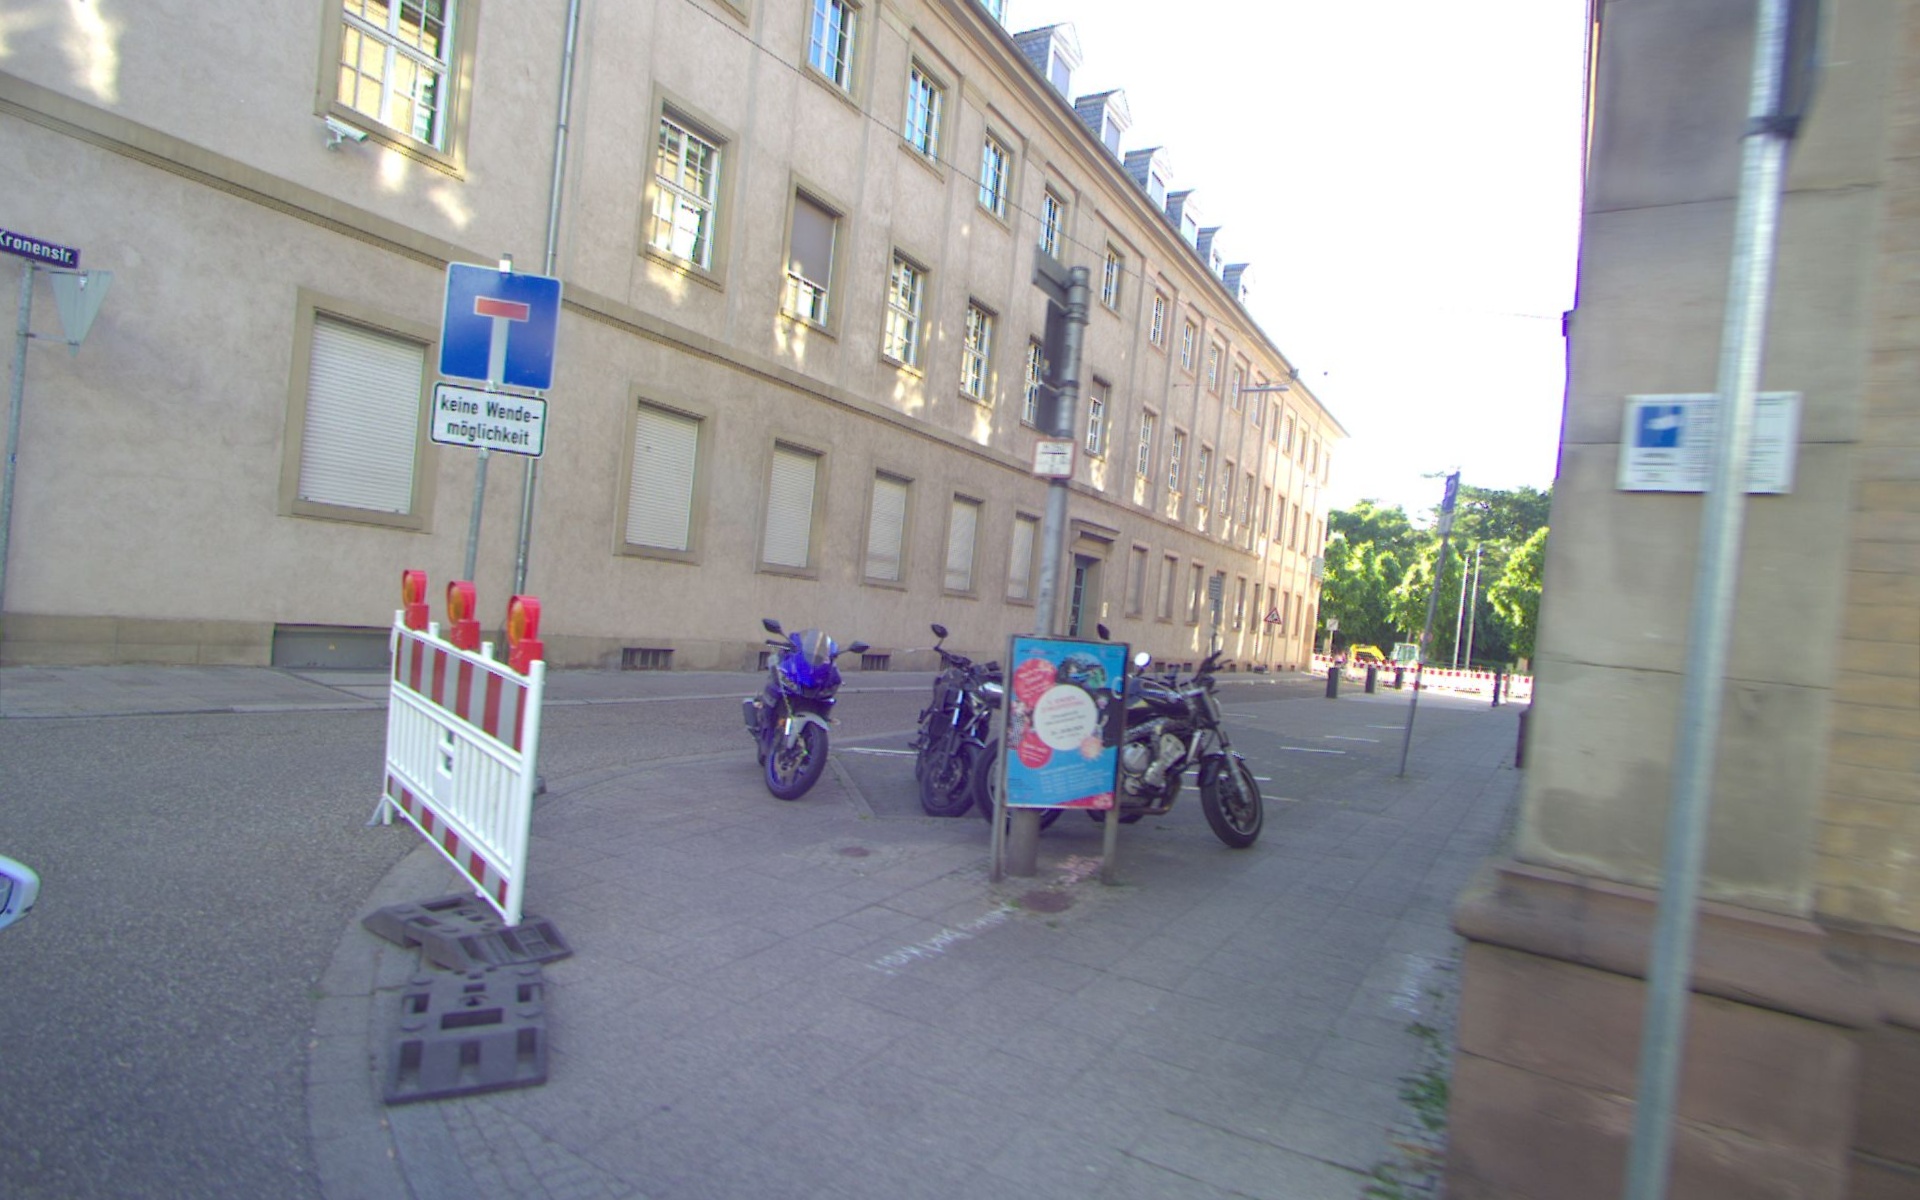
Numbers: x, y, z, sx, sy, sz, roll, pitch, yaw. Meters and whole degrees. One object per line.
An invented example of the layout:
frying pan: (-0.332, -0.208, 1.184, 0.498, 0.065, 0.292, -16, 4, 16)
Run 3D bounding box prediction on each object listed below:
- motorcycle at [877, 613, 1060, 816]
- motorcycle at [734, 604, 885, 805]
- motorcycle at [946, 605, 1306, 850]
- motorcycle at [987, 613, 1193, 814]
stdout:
motorcycle: (-0.014, 0.783, 7.619, 0.816, 1.240, 1.949, 6, 0, -14)
motorcycle: (-1.198, 0.692, 7.550, 0.861, 1.240, 2.144, 3, 0, -14)
motorcycle: (1.035, 0.798, 6.373, 2.046, 1.350, 0.704, 5, 1, -15)
motorcycle: (0.950, 0.823, 8.109, 0.816, 1.304, 2.139, 6, 0, -14)
